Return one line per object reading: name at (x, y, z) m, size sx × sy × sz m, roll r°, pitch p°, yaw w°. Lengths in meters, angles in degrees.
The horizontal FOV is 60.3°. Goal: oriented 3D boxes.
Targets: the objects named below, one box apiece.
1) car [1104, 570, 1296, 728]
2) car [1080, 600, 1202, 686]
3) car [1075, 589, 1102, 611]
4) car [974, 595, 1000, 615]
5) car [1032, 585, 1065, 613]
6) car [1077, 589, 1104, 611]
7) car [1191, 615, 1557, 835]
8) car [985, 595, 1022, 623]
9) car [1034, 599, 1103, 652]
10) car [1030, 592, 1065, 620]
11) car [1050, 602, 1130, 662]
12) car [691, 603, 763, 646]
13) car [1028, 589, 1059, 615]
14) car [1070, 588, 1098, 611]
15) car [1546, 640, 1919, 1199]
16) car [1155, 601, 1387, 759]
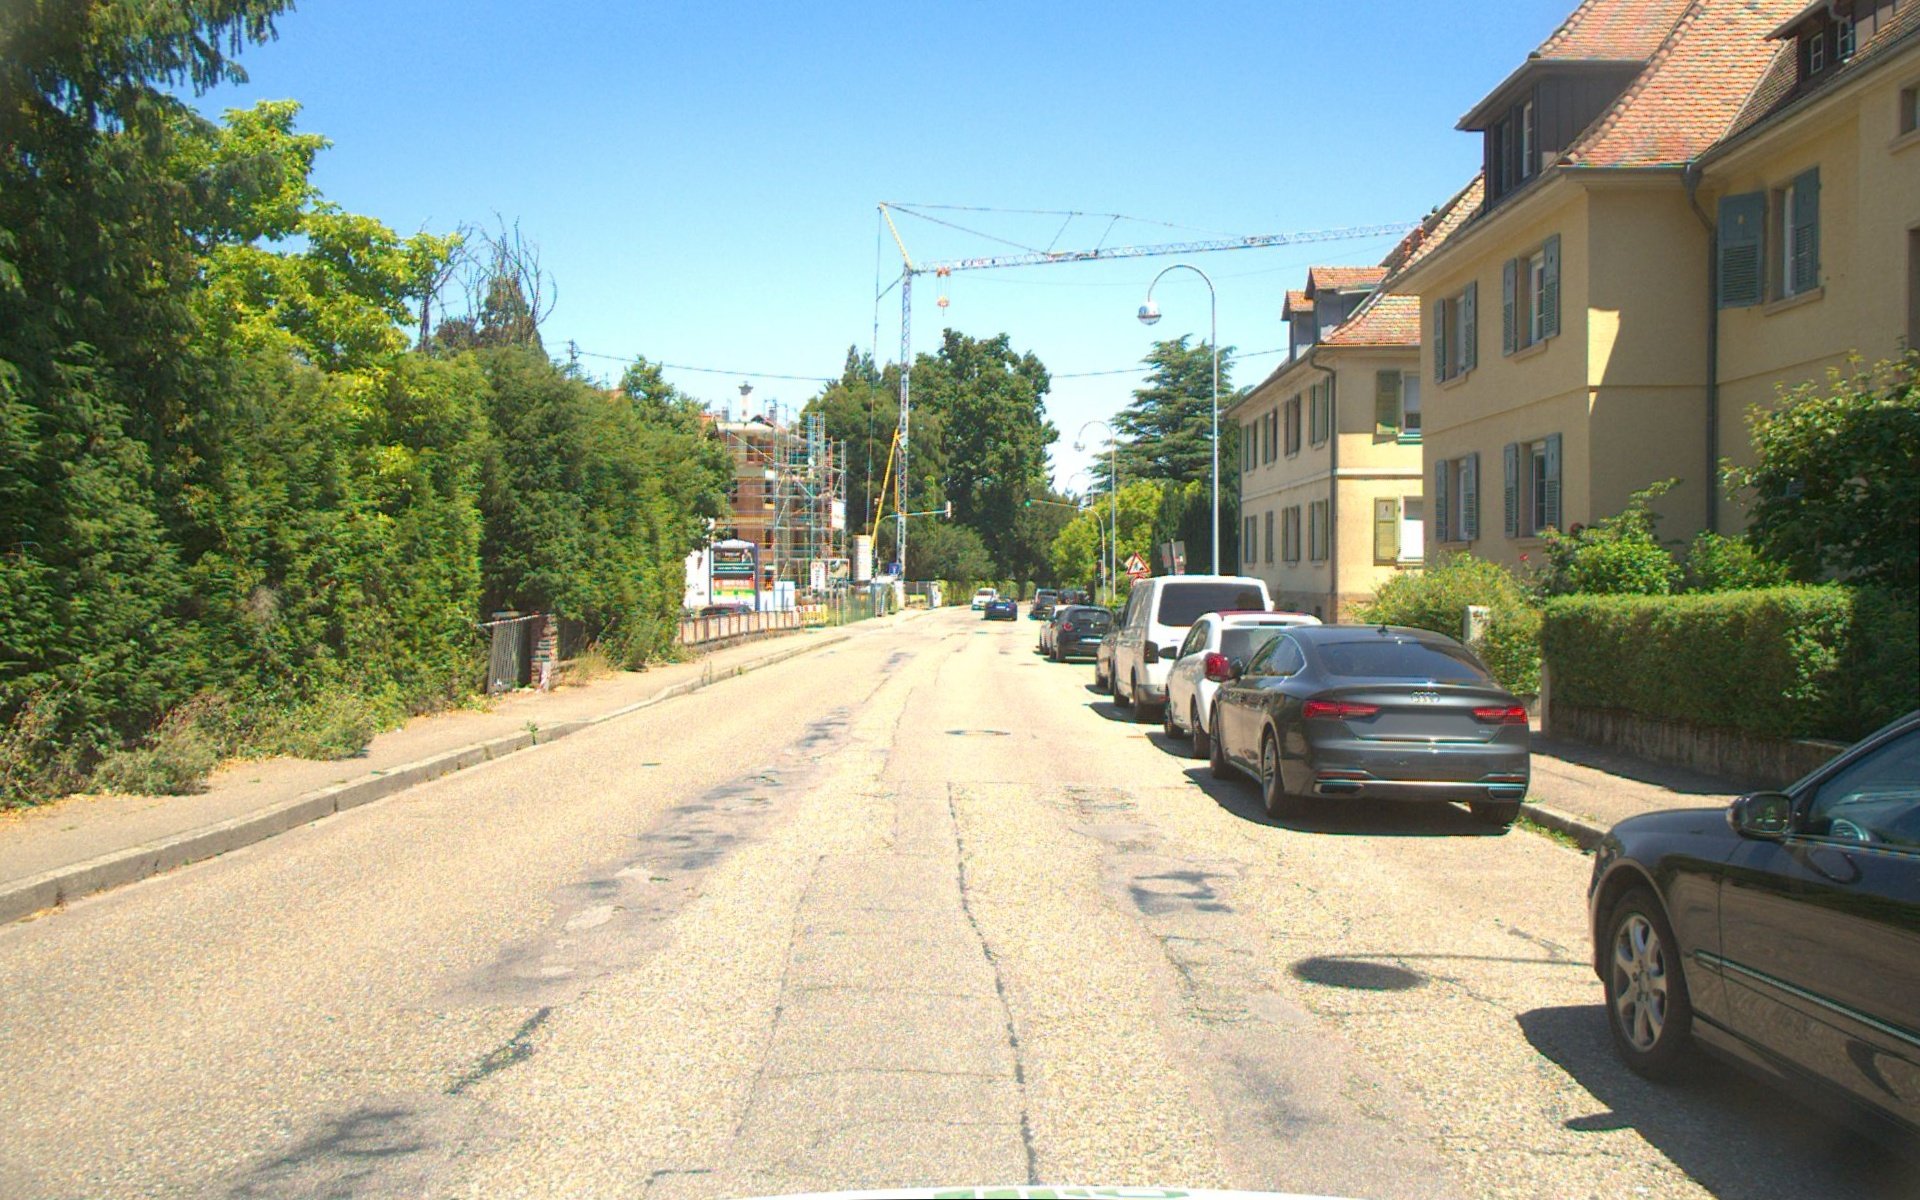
car at (3.272, 0.624, 23.508) m, size 1.953 × 1.934 × 4.822 m, roll 2°, pitch 0°, yaw 0°
car at (3.300, 0.747, 30.826) m, size 1.725 × 1.477 × 4.222 m, roll 1°, pitch 0°, yaw -1°
car at (10.120, -0.024, 130.317) m, size 1.951 × 1.691 × 4.003 m, roll 0°, pitch 0°, yaw 7°
car at (2.070, 0.344, 125.184) m, size 1.724 × 1.477 × 3.841 m, roll 1°, pitch 0°, yaw 4°
car at (5.487, -0.077, 102.647) m, size 1.951 × 1.691 × 4.002 m, roll 0°, pitch 0°, yaw 4°
car at (10.709, -0.002, 135.536) m, size 1.951 × 1.691 × 4.003 m, roll 0°, pitch 0°, yaw 7°
car at (3.086, 0.857, 13.330) m, size 1.725 × 1.395 × 4.606 m, roll 1°, pitch 0°, yaw -1°
car at (2.484, 0.506, 94.297) m, size 1.917 × 1.494 × 4.002 m, roll -1°, pitch 1°, yaw 4°
car at (3.172, 0.735, 49.158) m, size 1.725 × 1.477 × 3.889 m, roll 1°, pitch 0°, yaw -1°
car at (5.217, 0.338, 98.082) m, size 1.951 × 1.601 × 4.002 m, roll 0°, pitch 0°, yaw 4°
car at (3.371, 0.807, 43.488) m, size 1.725 × 1.477 × 3.838 m, roll 1°, pitch 0°, yaw -1°
car at (-7.969, 0.811, 56.888) m, size 1.625 × 1.413 × 3.537 m, roll 0°, pitch 0°, yaw 6°
car at (5.480, 0.124, 108.084) m, size 1.951 × 1.691 × 4.002 m, roll 0°, pitch 0°, yaw 4°
car at (9.431, -0.032, 125.390) m, size 1.951 × 1.691 × 4.003 m, roll 0°, pitch 0°, yaw 7°
car at (3.062, 0.866, 3.969) m, size 1.658 × 1.443 × 4.550 m, roll 0°, pitch 0°, yaw -1°
car at (3.199, 0.770, 17.670) m, size 1.725 × 1.477 × 3.648 m, roll 1°, pitch 0°, yaw -1°
